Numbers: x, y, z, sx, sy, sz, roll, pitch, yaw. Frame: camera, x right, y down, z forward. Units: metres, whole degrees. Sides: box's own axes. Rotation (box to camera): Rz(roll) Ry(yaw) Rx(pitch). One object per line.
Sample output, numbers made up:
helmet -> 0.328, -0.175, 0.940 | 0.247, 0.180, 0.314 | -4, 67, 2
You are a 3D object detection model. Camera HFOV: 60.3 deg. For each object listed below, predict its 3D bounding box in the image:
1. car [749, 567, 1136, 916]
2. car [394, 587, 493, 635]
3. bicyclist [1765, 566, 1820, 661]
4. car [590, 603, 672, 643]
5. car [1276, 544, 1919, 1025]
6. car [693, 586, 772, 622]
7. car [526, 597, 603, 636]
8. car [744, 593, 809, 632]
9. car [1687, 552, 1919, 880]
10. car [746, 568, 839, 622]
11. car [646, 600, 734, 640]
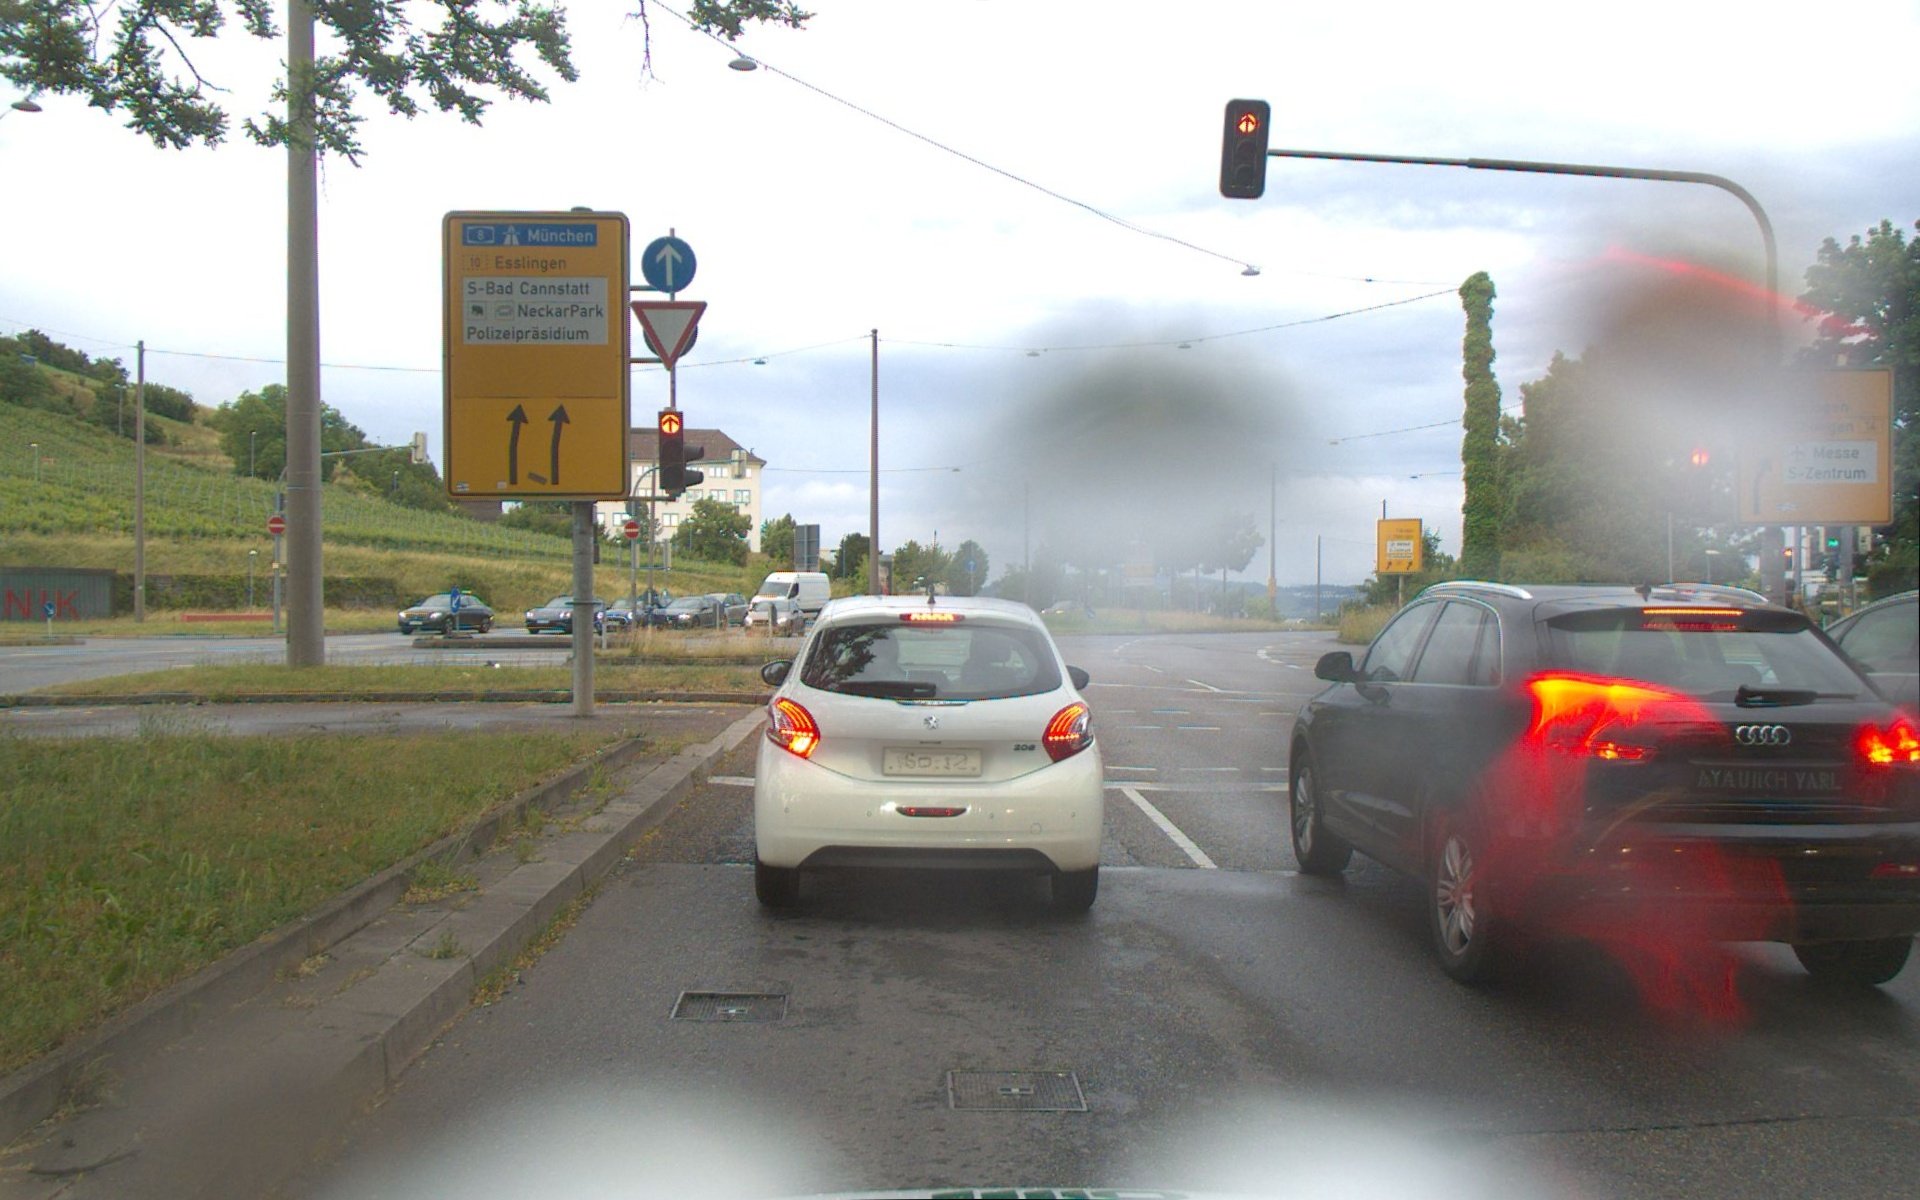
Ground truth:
car -> -0.125, 0.637, 9.295 | 1.683, 1.515, 3.999 | 1, 0, -2
car -> -19.311, 0.412, 62.067 | 1.790, 1.652, 4.569 | 2, 0, 6
bicyclist -> 14.527, 0.236, 28.880 | 0.793, 1.611, 1.022 | 2, -1, 26
car -> -12.333, 0.884, 62.251 | 1.748, 1.420, 3.885 | 1, -1, 9
car -> 2.868, 0.661, 7.801 | 1.846, 1.623, 4.112 | 2, 0, -1
car -> -10.902, 0.188, 79.520 | 1.953, 1.603, 4.195 | 2, 0, 21
car -> -15.384, 0.664, 64.520 | 1.749, 1.420, 3.883 | 1, -1, 5
car -> -7.053, 0.497, 63.895 | 1.738, 1.450, 4.376 | 0, -1, 4
car -> 5.905, 0.615, 8.890 | 1.827, 1.703, 4.564 | 1, 1, -2
car -> -8.736, -0.233, 86.777 | 1.954, 2.604, 6.166 | 2, -1, 24
car -> -11.111, 0.821, 68.399 | 1.861, 1.515, 4.896 | 2, 0, 12
